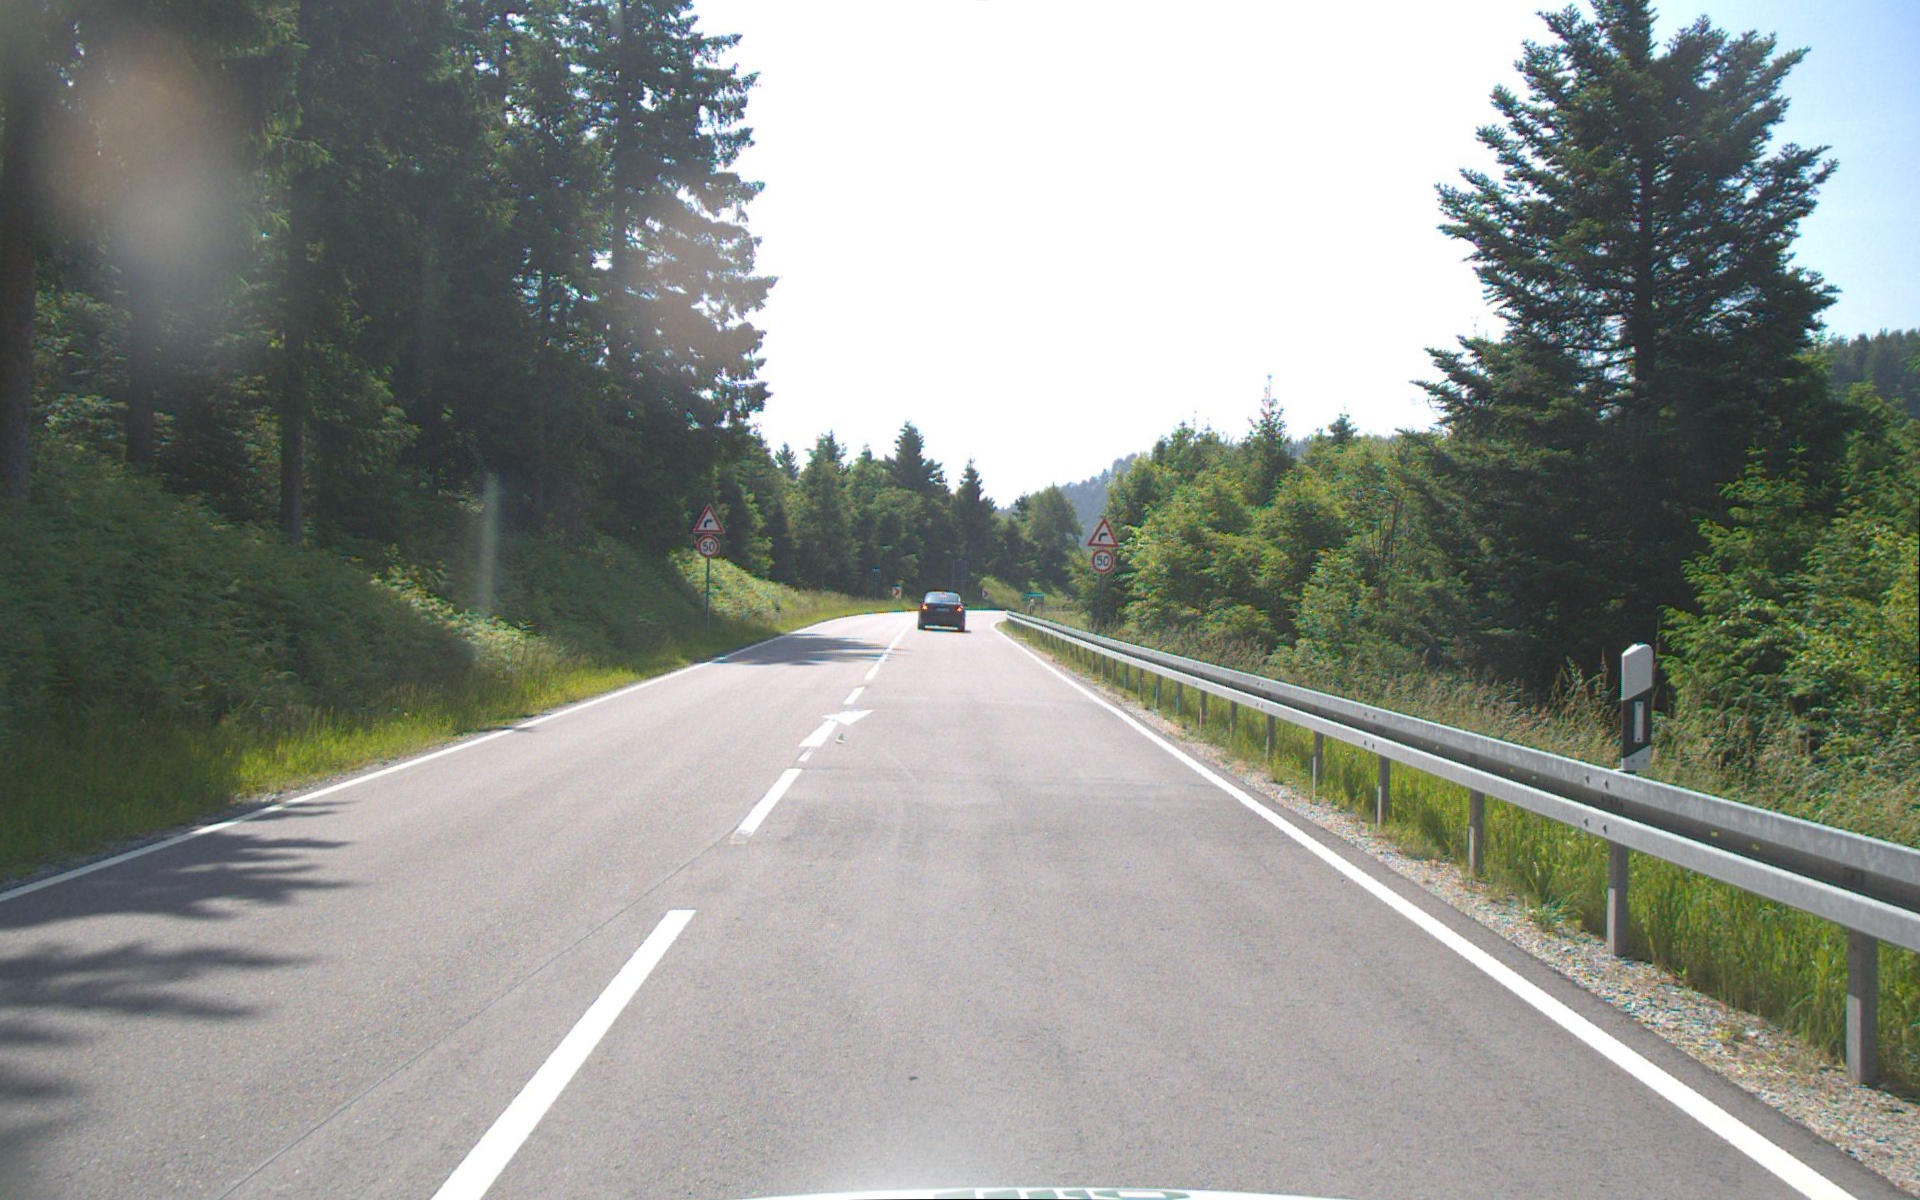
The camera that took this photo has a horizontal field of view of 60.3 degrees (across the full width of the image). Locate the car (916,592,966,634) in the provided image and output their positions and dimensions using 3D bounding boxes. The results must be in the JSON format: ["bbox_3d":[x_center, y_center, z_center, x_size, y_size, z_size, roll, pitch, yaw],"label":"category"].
[{"bbox_3d":[-0.690,0.478,62.696,1.739,1.467,3.709,2,0,1],"label":"car"}]
